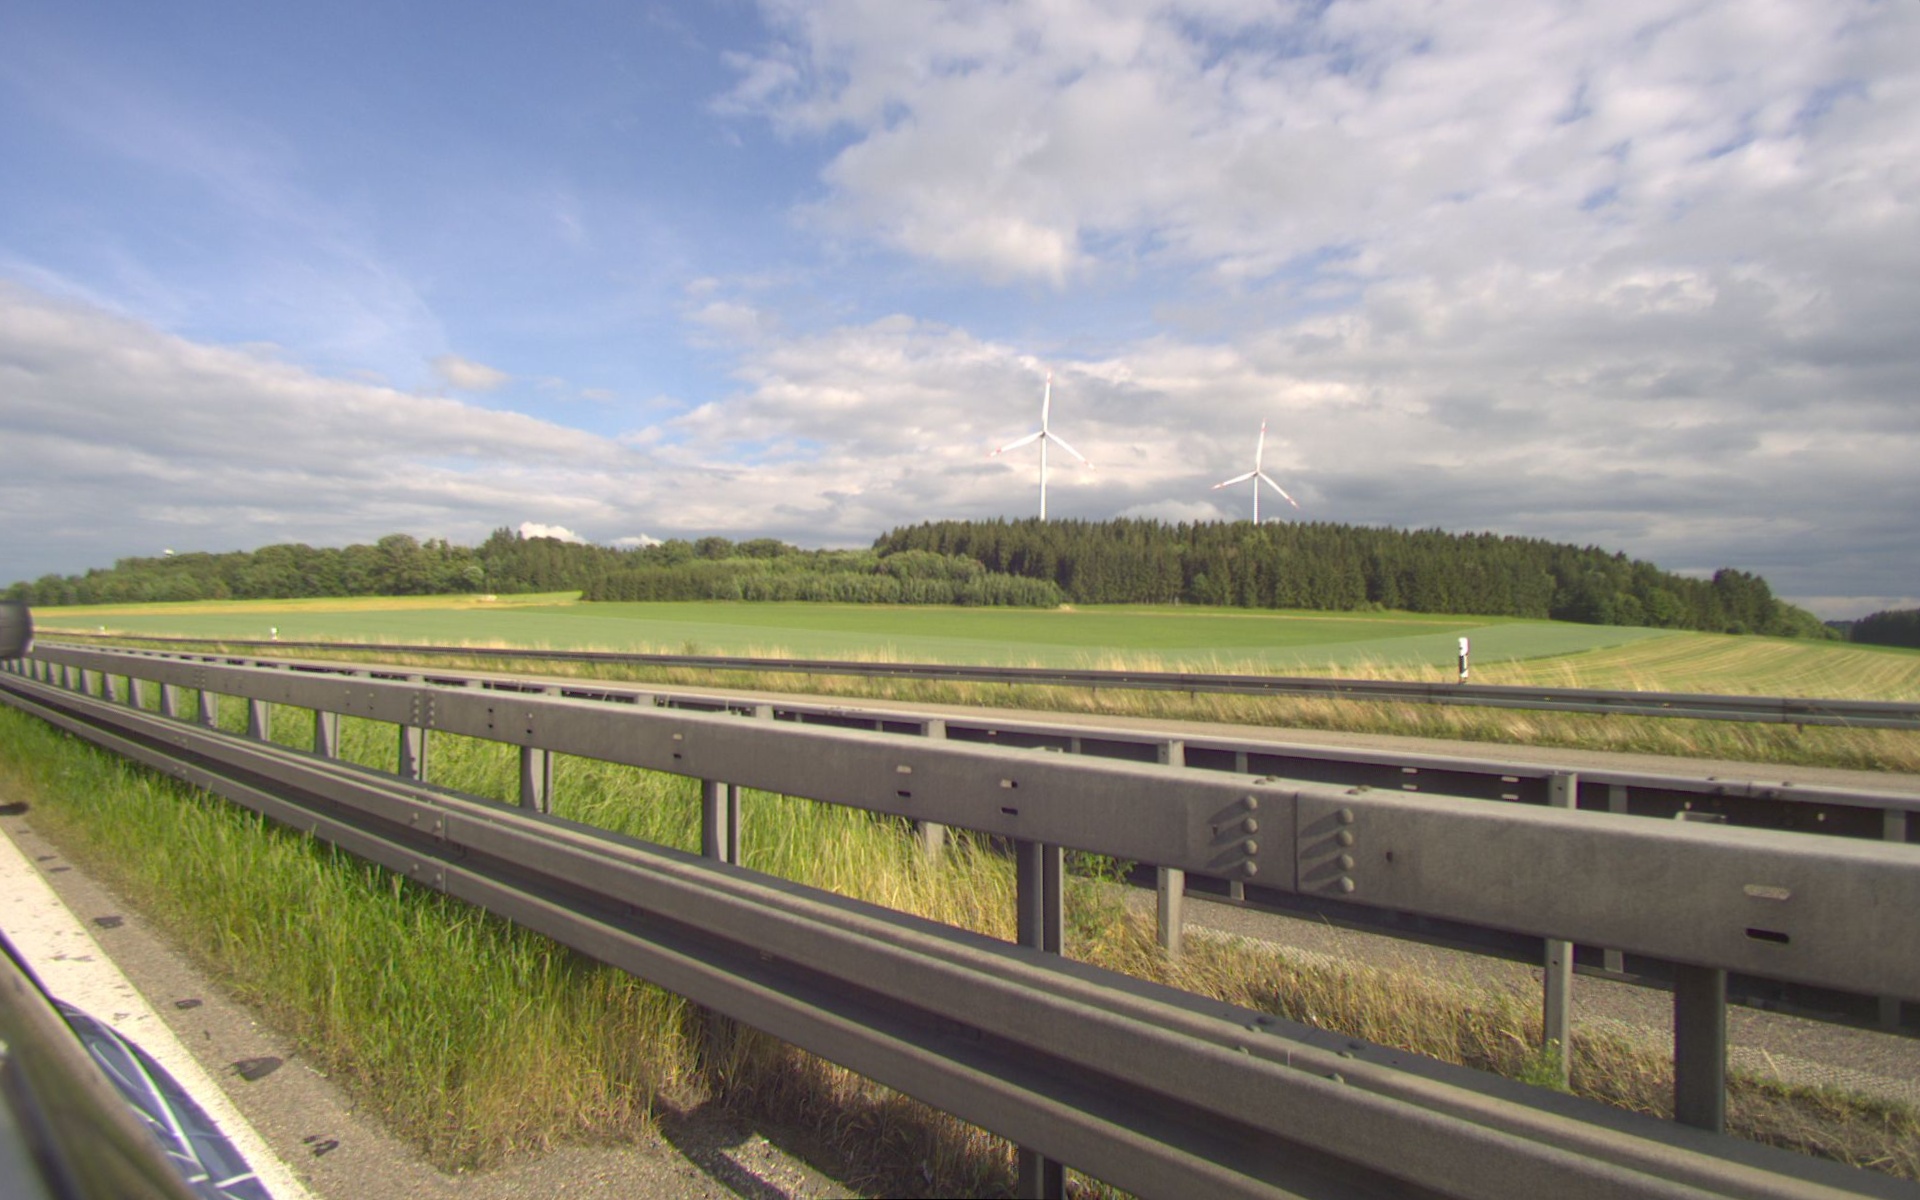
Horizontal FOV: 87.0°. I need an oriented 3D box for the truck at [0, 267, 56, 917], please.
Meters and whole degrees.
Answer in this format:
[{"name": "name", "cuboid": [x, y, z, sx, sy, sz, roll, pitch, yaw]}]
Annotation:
[{"name": "truck", "cuboid": [-9.603, 0.073, 7.774, 11.155, 3.183, 2.470, -2, -2, 40]}]
